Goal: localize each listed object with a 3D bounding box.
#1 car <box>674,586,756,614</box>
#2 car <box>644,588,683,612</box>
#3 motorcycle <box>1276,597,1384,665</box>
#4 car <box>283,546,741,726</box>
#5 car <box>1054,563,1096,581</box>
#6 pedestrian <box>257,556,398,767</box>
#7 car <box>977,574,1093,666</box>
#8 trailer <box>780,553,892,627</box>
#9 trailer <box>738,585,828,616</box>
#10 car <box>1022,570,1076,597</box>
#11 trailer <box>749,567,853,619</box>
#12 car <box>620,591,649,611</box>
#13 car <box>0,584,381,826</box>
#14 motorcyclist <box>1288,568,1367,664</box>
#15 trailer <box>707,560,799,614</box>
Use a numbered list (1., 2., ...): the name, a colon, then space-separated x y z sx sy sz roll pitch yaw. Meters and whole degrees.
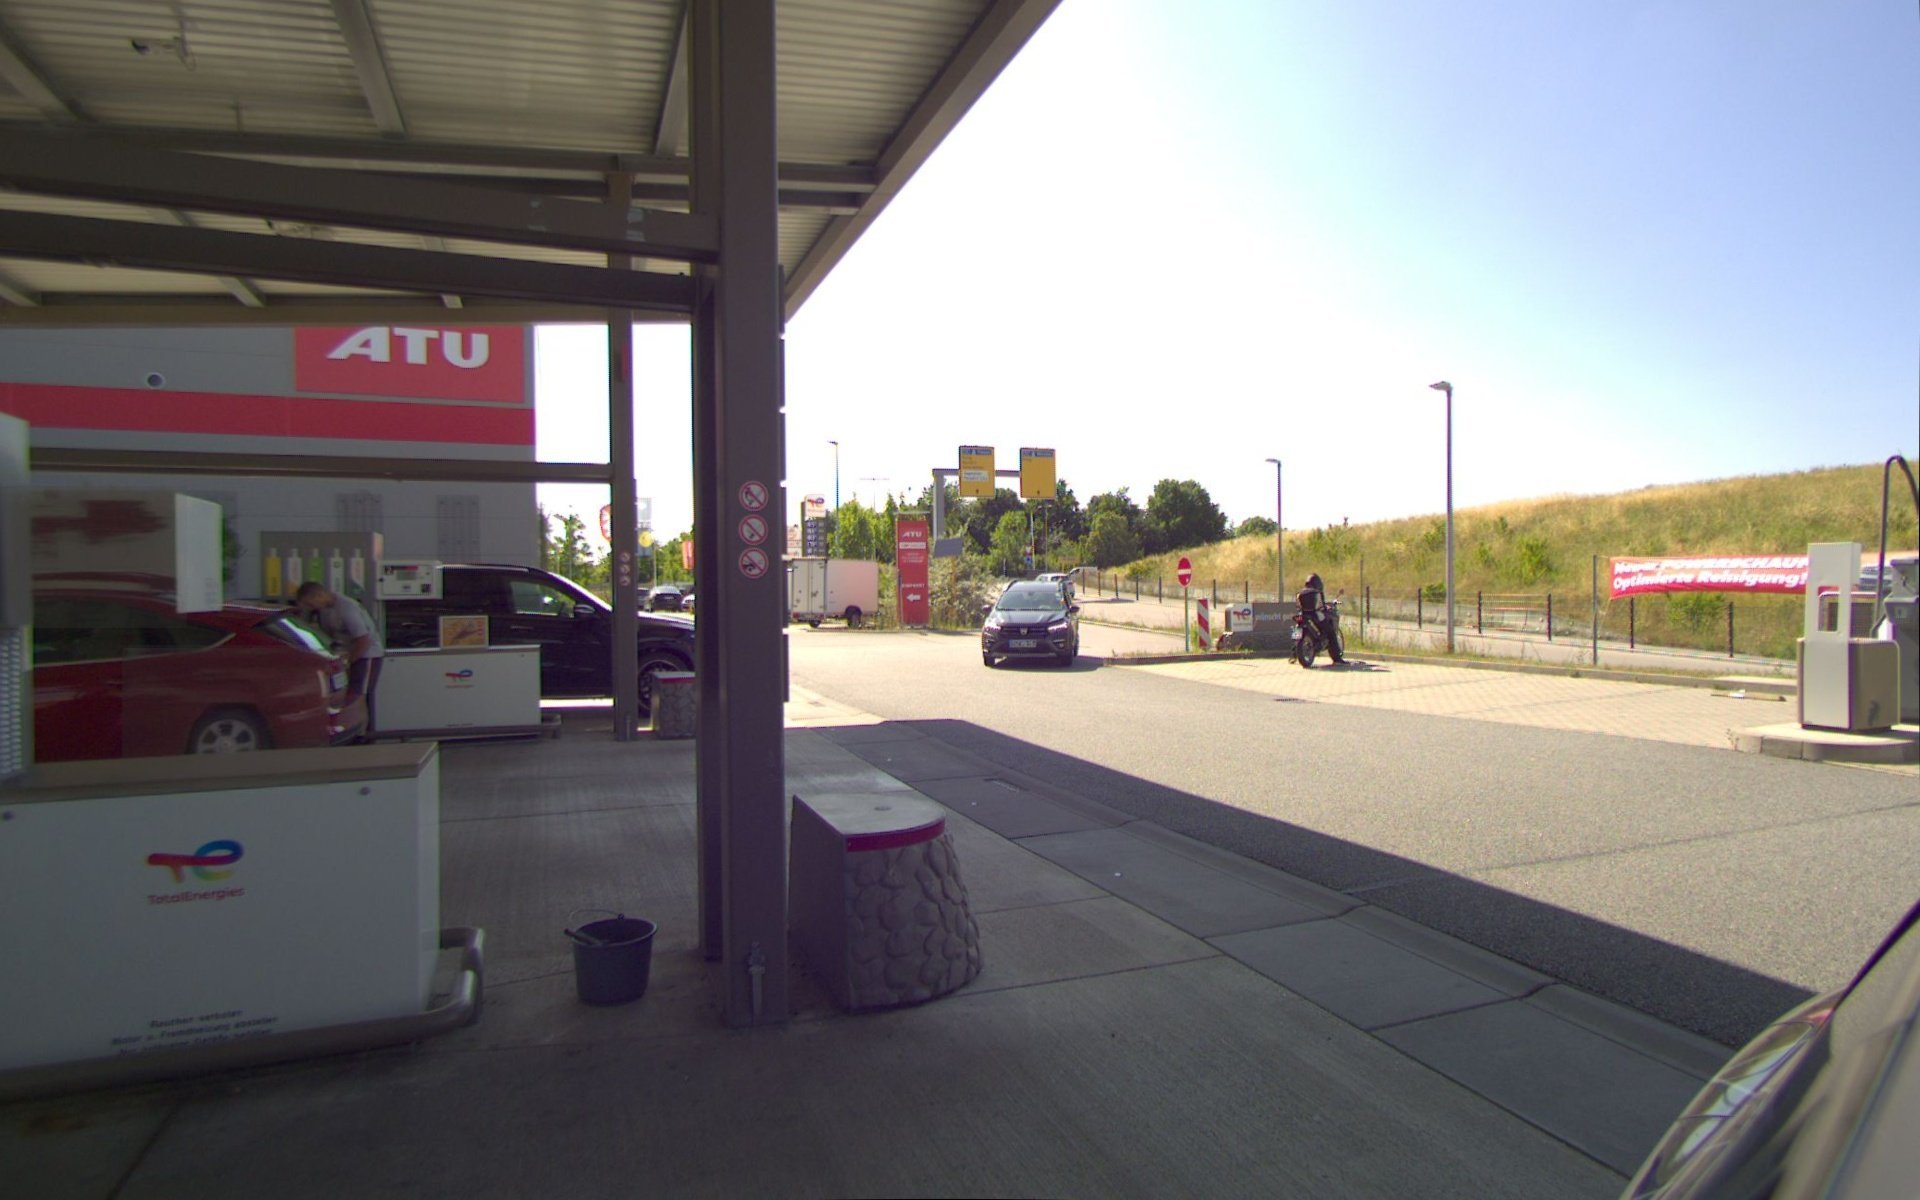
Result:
1. car: -11.995 -0.025 49.745 1.670 1.334 3.788 0 1 34
2. car: -16.897 -0.030 57.549 1.646 1.334 3.843 0 1 -23
3. motorcycle: 6.900 0.536 18.817 1.042 1.119 2.378 0 2 43
4. car: -5.225 0.378 12.342 4.697 1.874 2.038 0 0 -22
5. car: 13.051 -3.197 115.035 4.438 2.039 2.002 0 0 -5
6. pedestrian: -5.430 0.495 8.746 0.908 1.724 0.705 0 0 -21
7. car: 1.668 0.331 20.860 1.717 1.665 4.614 0 1 13
8. trailer: -4.348 -0.367 36.026 1.983 2.457 3.957 0 1 30
9. trailer: -7.590 0.003 43.577 1.573 1.297 3.661 0 1 43
10. car: 5.111 -0.978 58.426 1.671 1.441 4.105 0 2 -17
11. trailer: -6.412 -0.298 41.117 1.797 2.039 3.938 0 1 43
12. car: -21.393 0.046 66.503 1.646 1.319 3.732 0 1 -20
13. car: -6.466 0.642 6.929 4.144 1.487 1.707 0 1 -22
14. motorcyclist: 6.792 0.268 18.706 1.031 1.709 1.082 0 1 44
15. trailer: -9.857 -0.647 48.442 1.991 2.457 3.942 0 1 41
